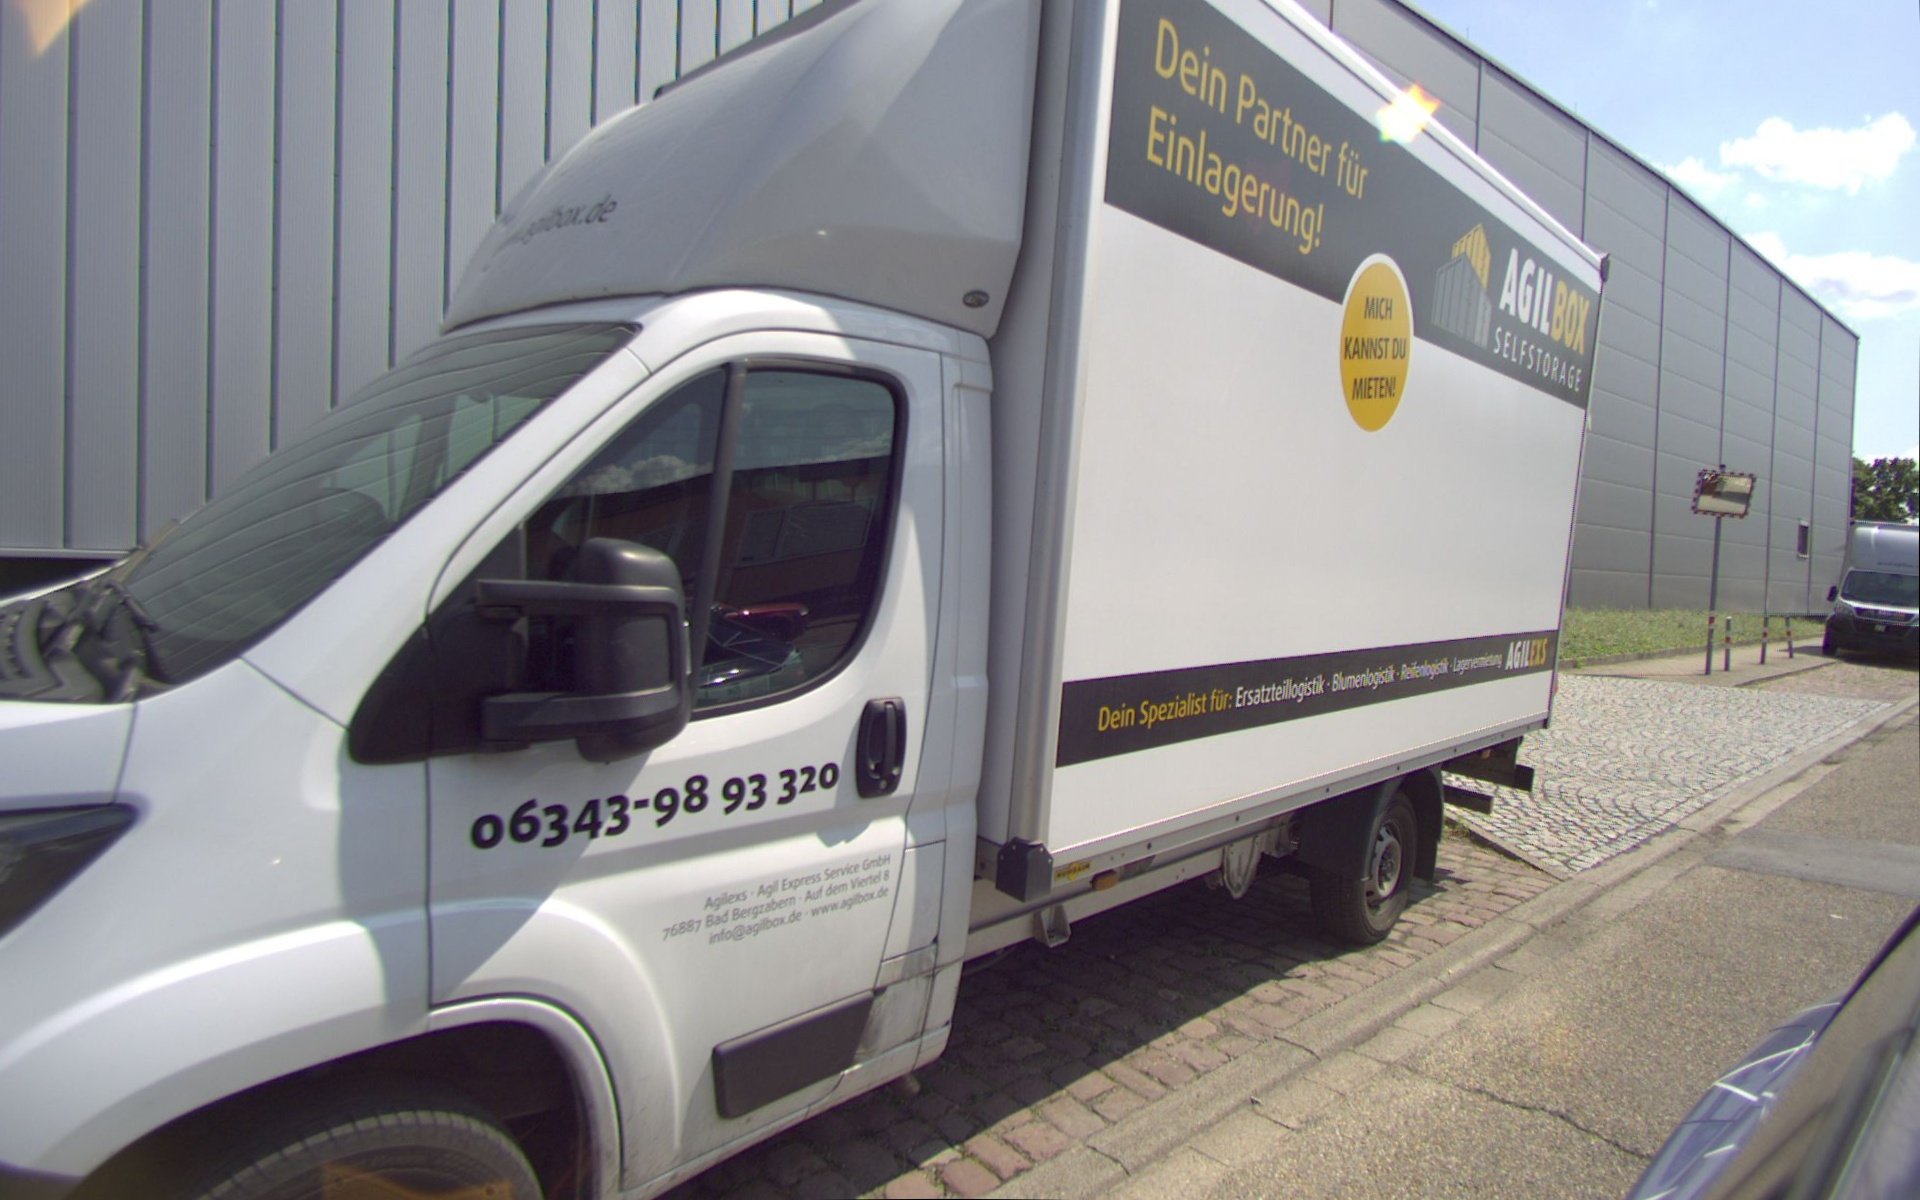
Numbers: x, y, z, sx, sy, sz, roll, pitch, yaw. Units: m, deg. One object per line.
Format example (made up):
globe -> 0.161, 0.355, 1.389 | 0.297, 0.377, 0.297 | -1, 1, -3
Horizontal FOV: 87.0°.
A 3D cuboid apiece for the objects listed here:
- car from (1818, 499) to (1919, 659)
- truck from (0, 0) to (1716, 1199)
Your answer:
car -> 23.158, -0.487, 24.345 | 6.777, 3.324, 2.420 | -1, 9, -41
truck -> 0.689, -0.233, 4.318 | 7.940, 3.266, 2.604 | -1, 0, -42
